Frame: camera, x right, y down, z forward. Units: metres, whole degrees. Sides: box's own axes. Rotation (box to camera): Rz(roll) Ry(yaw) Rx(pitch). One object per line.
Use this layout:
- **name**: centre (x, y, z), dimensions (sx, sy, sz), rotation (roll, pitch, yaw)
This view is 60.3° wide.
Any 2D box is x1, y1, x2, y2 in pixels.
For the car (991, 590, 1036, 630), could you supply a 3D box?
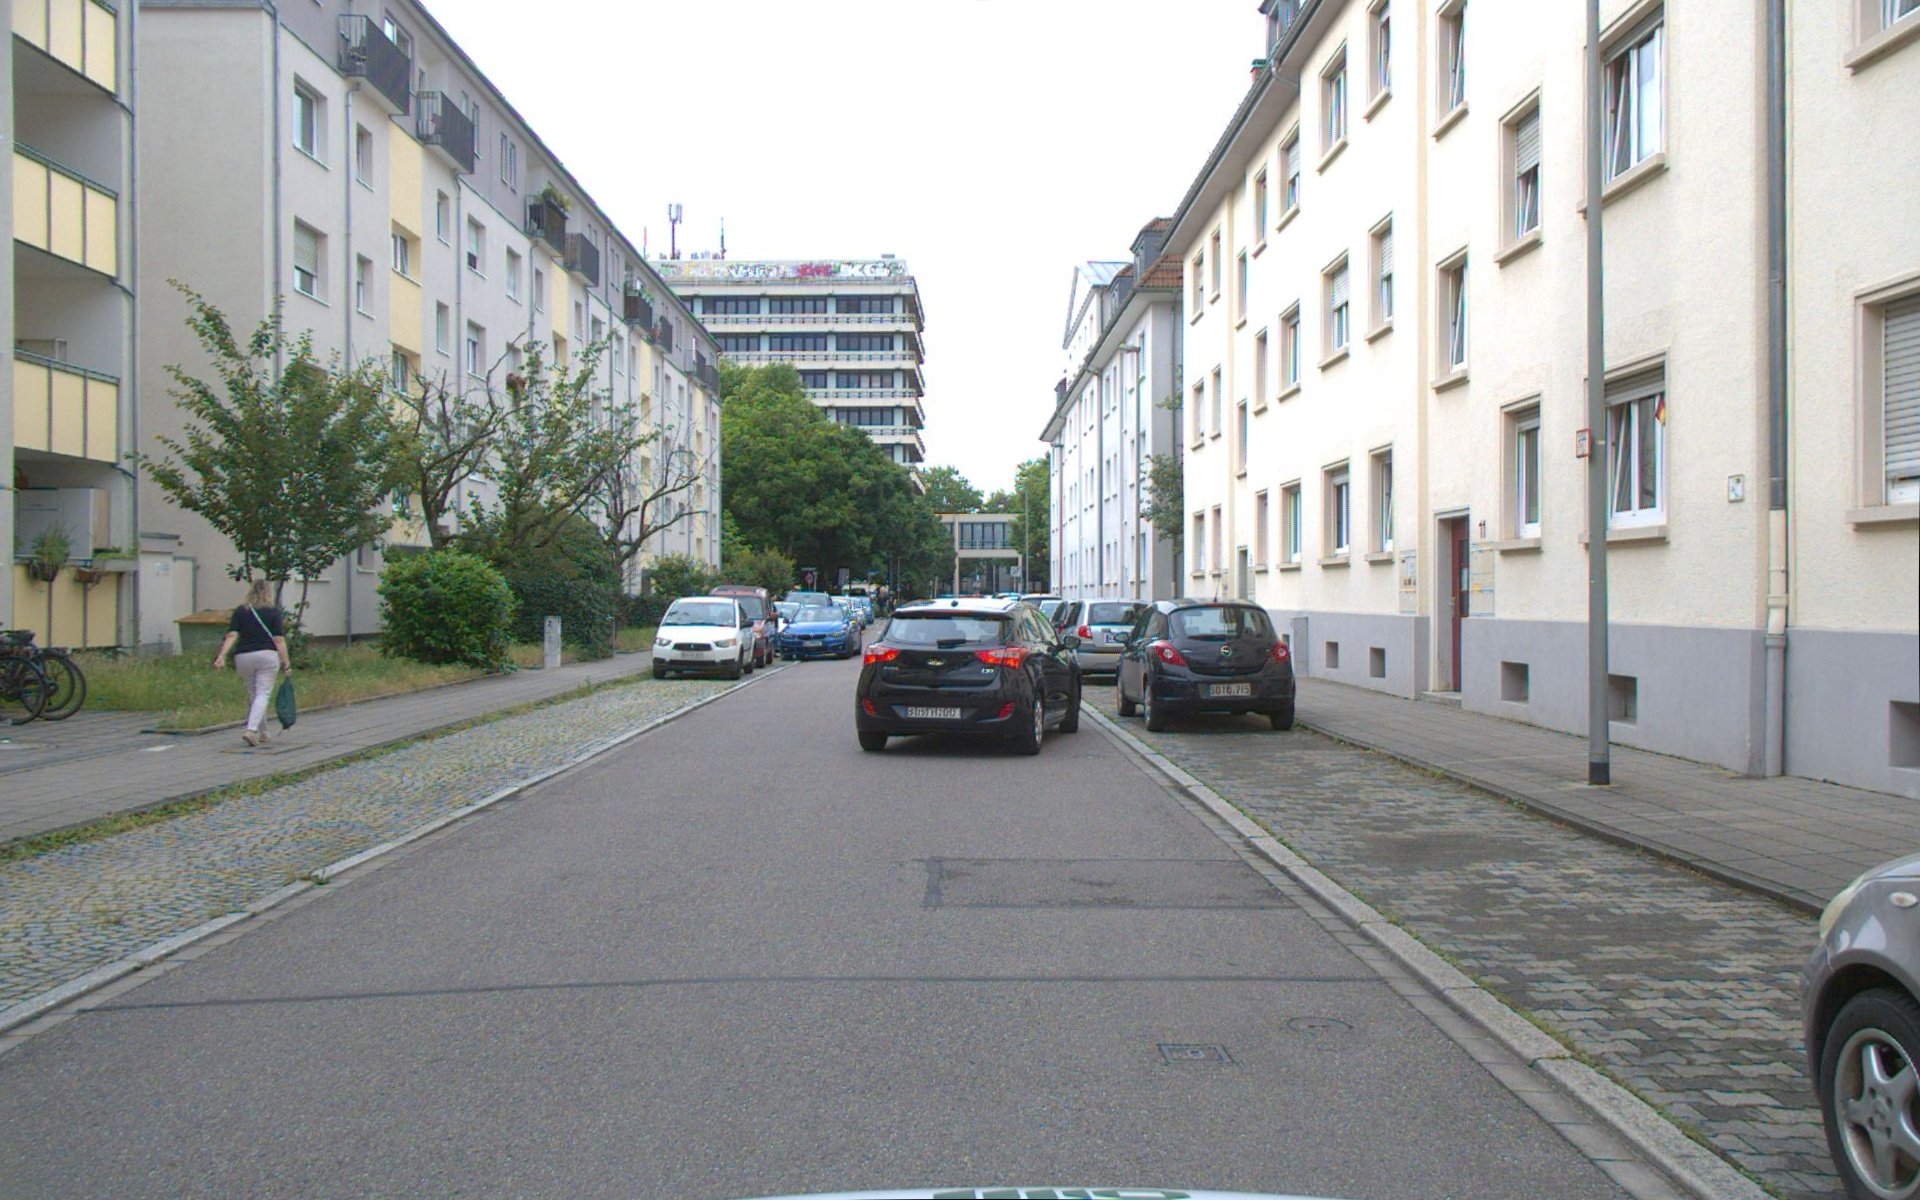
- **car**: centre (2.254, 0.411, 70.734), dimensions (1.783, 1.631, 4.091), rotation (0, 0, 0)

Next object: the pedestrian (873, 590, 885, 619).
- **pedestrian**: centre (-5.289, 0.297, 108.028), dimensions (0.699, 1.863, 0.797), rotation (0, 0, 1)

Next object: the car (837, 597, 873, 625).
- **car**: centre (-5.908, 0.606, 93.572), dimensions (1.954, 1.568, 3.998), rotation (1, 0, -3)

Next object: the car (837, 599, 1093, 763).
- **car**: centre (0.201, 0.735, 17.057), dimensions (1.862, 1.458, 4.236), rotation (-1, 0, 11)

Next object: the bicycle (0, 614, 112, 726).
- **bicycle**: centre (-10.208, 0.737, 17.608), dimensions (1.986, 1.161, 0.621), rotation (0, 0, -11)

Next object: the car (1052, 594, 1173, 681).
- **car**: centre (2.721, 0.636, 30.245), dimensions (1.811, 1.475, 3.832), rotation (0, 0, -1)

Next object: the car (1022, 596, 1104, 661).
- **car**: centre (2.481, 0.653, 40.803), dimensions (1.690, 1.502, 4.504), rotation (0, 0, 0)

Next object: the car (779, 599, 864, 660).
- **car**: centre (-3.583, 0.731, 43.366), dimensions (1.807, 1.476, 4.501), rotation (0, 0, 0)

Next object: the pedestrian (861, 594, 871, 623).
- **pedestrian**: centre (-6.135, 0.571, 107.680), dimensions (0.592, 1.863, 0.675), rotation (0, 0, 1)

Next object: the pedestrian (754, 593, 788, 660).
- **pedestrian**: centre (-4.950, 0.680, 43.267), dimensions (0.729, 1.731, 0.792), rotation (-1, 0, -18)

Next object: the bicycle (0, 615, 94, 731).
- **bicycle**: centre (-10.079, 0.744, 16.988), dimensions (1.986, 1.161, 0.621), rotation (0, 0, -11)

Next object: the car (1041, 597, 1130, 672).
- **car**: centre (2.635, 0.700, 35.434), dimensions (1.570, 1.502, 3.868), rotation (1, 0, -1)

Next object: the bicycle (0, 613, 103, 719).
- **bicycle**: centre (-10.735, 0.727, 18.472), dimensions (1.983, 1.161, 0.623), rotation (0, 0, -4)

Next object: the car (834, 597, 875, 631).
- **car**: centre (-5.173, 0.662, 81.284), dimensions (1.954, 1.568, 3.998), rotation (1, 0, -3)

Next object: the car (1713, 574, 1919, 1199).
- **car**: centre (3.096, 0.707, 2.786), dimensions (1.690, 1.544, 4.059), rotation (0, 0, -2)

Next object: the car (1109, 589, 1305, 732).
- **car**: centre (2.869, 0.645, 20.013), dimensions (1.690, 1.544, 4.060), rotation (0, 0, -1)

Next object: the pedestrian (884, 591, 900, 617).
- **pedestrian**: centre (-4.430, 0.262, 107.819), dimensions (0.952, 1.683, 0.981), rotation (0, 0, 0)

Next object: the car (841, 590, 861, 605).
- **car**: centre (-10.028, -0.205, 151.729), dimensions (1.632, 1.356, 3.395), rotation (0, 0, -1)

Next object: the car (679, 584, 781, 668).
- **car**: centre (-5.237, 0.557, 38.110), dimensions (1.917, 1.801, 4.359), rotation (1, 0, -3)

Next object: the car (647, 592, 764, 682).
- **car**: centre (-4.889, 0.675, 32.279), dimensions (1.685, 1.597, 3.869), rotation (2, 0, -1)

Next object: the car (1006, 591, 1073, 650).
- **car**: centre (2.338, 0.582, 49.382), dimensions (1.783, 1.671, 4.091), rotation (0, 0, 0)

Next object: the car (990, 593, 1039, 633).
- **car**: centre (2.132, 0.495, 65.663), dimensions (1.783, 1.529, 4.091), rotation (0, 0, 0)

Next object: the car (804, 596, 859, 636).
- **car**: centre (-5.147, 0.628, 66.786), dimensions (1.856, 1.477, 4.520), rotation (2, 0, -1)

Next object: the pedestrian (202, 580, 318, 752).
- **pedestrian**: centre (-6.852, 0.629, 16.240), dimensions (0.784, 1.638, 0.946), rotation (0, 0, -5)

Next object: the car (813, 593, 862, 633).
- **car**: centre (-5.368, 0.560, 72.954), dimensions (1.856, 1.627, 4.520), rotation (2, 0, -1)
